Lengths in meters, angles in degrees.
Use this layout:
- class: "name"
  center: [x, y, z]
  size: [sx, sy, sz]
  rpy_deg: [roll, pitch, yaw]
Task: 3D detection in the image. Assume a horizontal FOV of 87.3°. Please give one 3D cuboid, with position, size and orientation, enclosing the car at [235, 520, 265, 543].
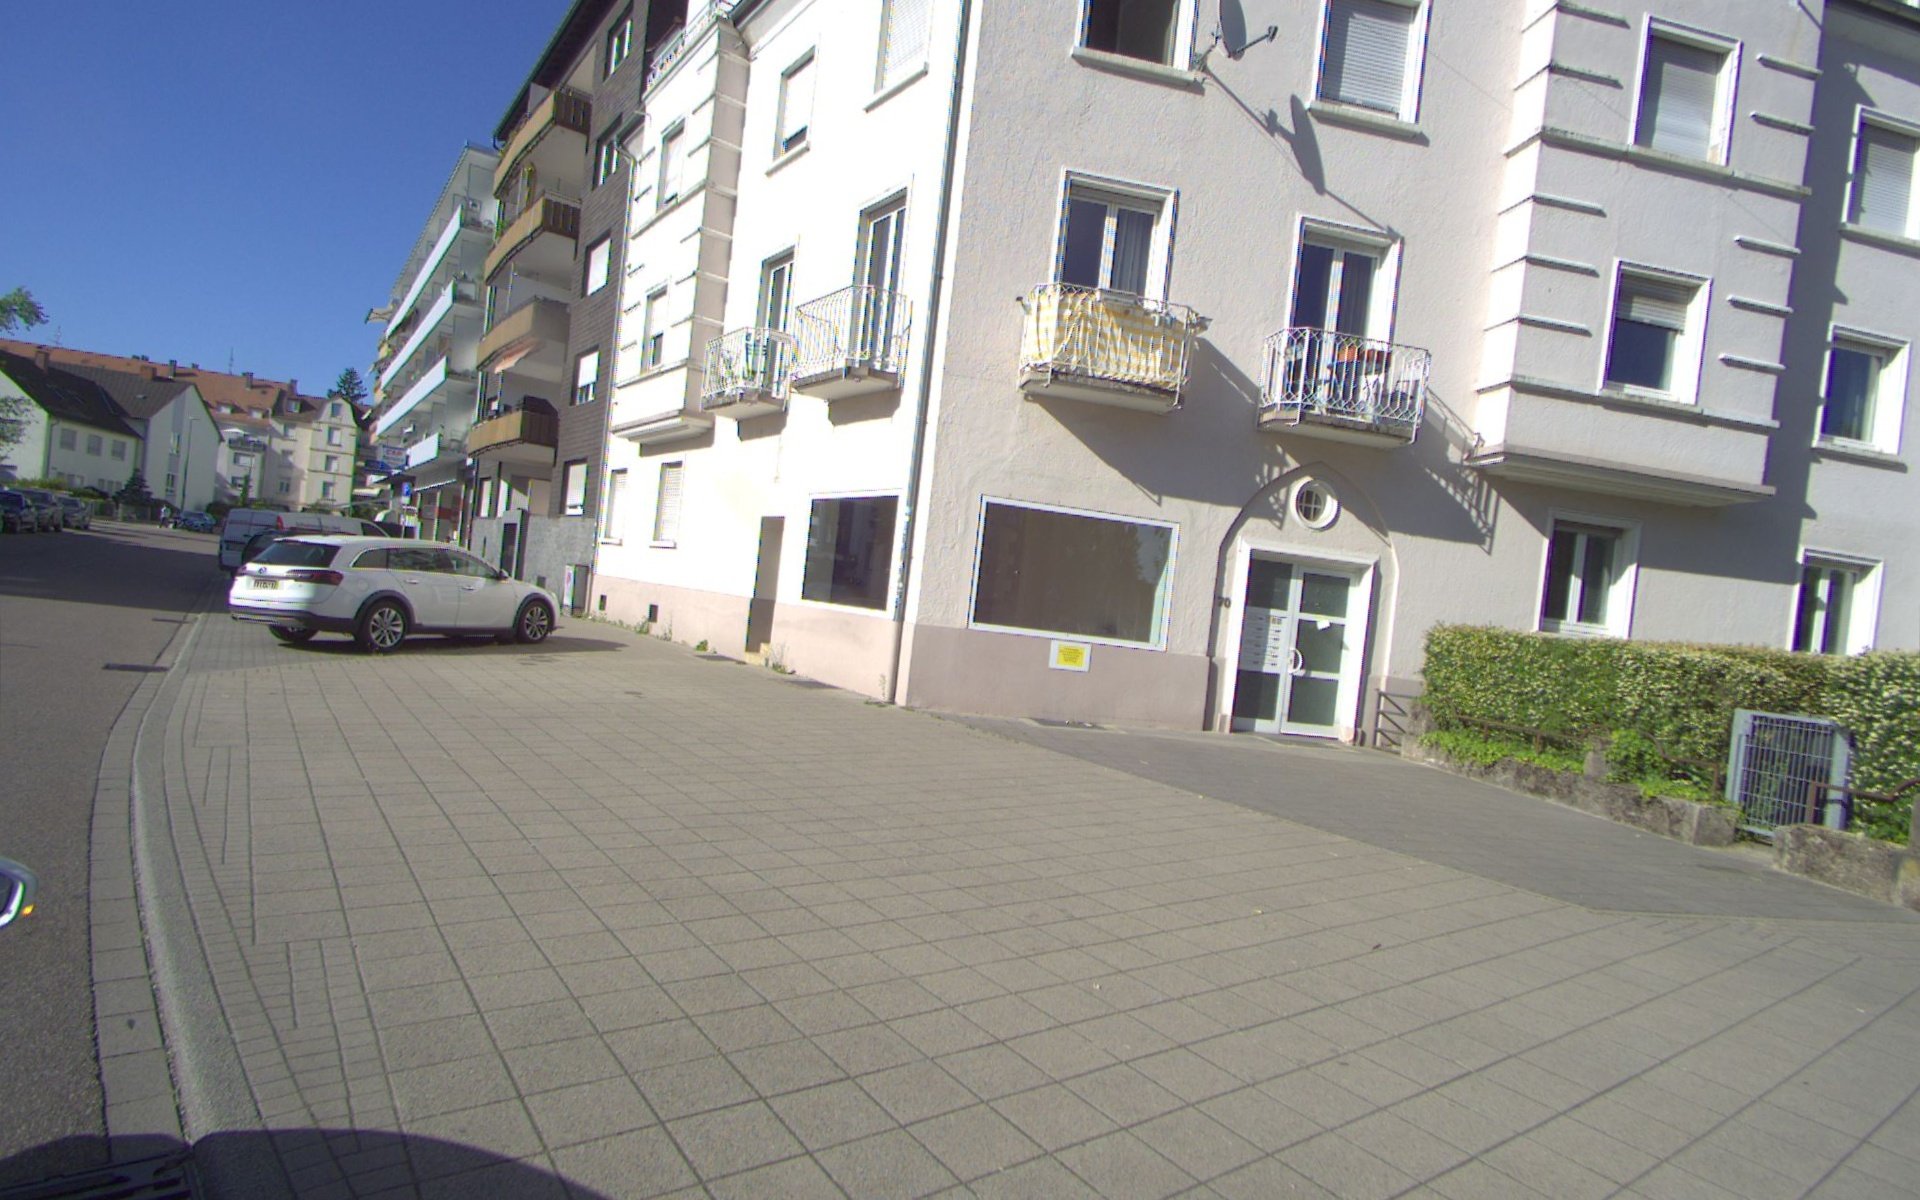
- class: "car"
  center: [-55.094, -5.331, 78.081]
  size: [1.715, 1.504, 4.068]
  rpy_deg: [7, 0, -34]

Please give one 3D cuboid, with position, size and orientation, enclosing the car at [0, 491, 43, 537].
- class: "car"
  center: [-34.100, -3.110, 35.594]
  size: [1.715, 1.483, 4.398]
  rpy_deg: [7, 0, -34]

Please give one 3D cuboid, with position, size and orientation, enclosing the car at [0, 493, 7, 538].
- class: "car"
  center: [-31.019, -2.749, 31.204]
  size: [1.590, 1.458, 3.958]
  rpy_deg: [7, -1, -38]

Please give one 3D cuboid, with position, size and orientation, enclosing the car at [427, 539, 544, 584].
- class: "car"
  center: [-21.135, -1.715, 44.841]
  size: [4.365, 1.531, 1.960]
  rpy_deg: [6, 0, -37]

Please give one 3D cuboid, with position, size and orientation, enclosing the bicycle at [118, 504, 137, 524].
- class: "bicycle"
  center: [-59.738, -6.163, 72.171]
  size: [0.451, 1.265, 1.919]
  rpy_deg: [6, -2, -24]

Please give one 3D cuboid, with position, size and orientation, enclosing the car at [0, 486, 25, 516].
- class: "car"
  center: [-57.527, -6.009, 59.457]
  size: [1.776, 1.574, 3.184]
  rpy_deg: [6, -2, -12]

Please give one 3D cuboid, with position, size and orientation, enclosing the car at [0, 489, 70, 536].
- class: "car"
  center: [-37.350, -3.507, 40.405]
  size: [1.709, 1.606, 4.380]
  rpy_deg: [7, 0, -34]

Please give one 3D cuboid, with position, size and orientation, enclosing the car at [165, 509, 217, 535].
- class: "car"
  center: [-56.613, -5.707, 74.094]
  size: [1.779, 1.491, 4.308]
  rpy_deg: [8, 0, -22]

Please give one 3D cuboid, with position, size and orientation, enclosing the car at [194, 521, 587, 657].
- class: "car"
  center: [-7.957, -0.147, 14.722]
  size: [1.936, 1.483, 4.869]
  rpy_deg: [7, 2, 19]

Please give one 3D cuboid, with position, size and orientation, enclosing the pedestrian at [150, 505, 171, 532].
- class: "pedestrian"
  center: [-55.091, -5.599, 69.335]
  size: [0.674, 1.723, 0.822]
  rpy_deg: [6, -1, -14]

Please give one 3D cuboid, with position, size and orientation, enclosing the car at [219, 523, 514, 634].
- class: "car"
  center: [-10.130, -0.280, 17.569]
  size: [1.789, 1.515, 4.172]
  rpy_deg: [5, -1, 20]

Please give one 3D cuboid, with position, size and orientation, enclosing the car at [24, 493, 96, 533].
- class: "car"
  center: [-43.090, -4.159, 48.269]
  size: [1.983, 1.553, 4.868]
  rpy_deg: [7, 0, -36]

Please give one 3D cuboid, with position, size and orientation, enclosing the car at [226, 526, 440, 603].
- class: "car"
  center: [-14.306, -0.755, 23.216]
  size: [1.587, 1.509, 3.992]
  rpy_deg: [4, 1, 22]

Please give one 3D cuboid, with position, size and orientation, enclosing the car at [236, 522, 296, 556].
- class: "car"
  center: [-37.158, -3.239, 53.966]
  size: [1.954, 1.468, 4.969]
  rpy_deg: [7, -1, -28]

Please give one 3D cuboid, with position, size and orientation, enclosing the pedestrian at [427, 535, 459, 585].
- class: "pedestrian"
  center: [-17.886, -1.378, 34.806]
  size: [0.826, 1.614, 0.882]
  rpy_deg: [5, 1, -31]

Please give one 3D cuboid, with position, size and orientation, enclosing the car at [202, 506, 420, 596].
- class: "car"
  center: [-16.452, -1.173, 25.828]
  size: [2.011, 1.922, 4.529]
  rpy_deg: [4, 0, 13]
